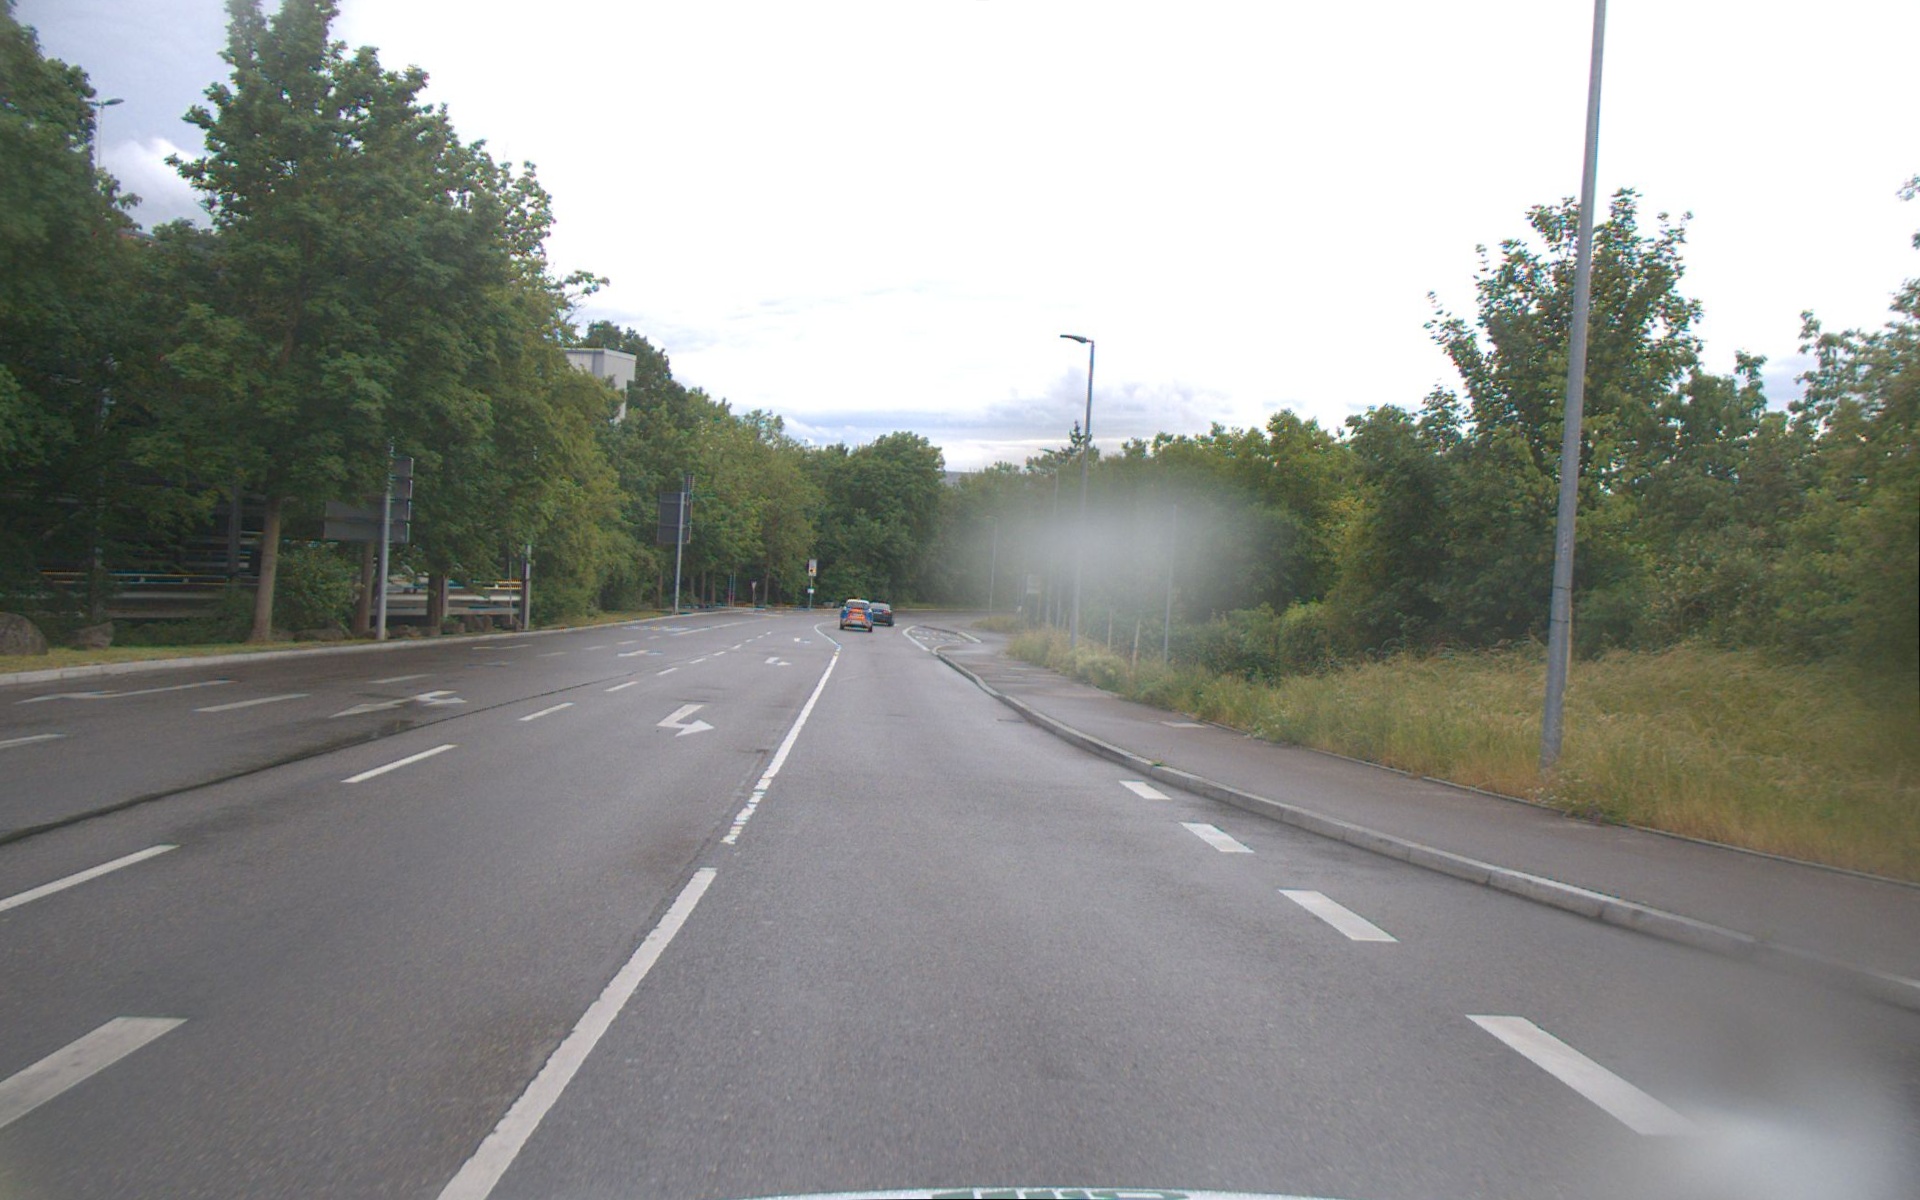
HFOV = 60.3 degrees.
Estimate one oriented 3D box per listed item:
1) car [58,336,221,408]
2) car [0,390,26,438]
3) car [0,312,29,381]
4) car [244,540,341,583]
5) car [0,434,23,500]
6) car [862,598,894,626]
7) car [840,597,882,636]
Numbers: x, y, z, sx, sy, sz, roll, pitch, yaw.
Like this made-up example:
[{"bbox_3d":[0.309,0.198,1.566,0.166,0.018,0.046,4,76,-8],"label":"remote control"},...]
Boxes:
[{"bbox_3d":[-22.849,-6.339,46.075,3.910,1.544,1.999,6,1,25],"label":"car"},{"bbox_3d":[-35.288,-6.609,58.419,3.906,1.545,1.999,2,0,22],"label":"car"},{"bbox_3d":[-24.705,-6.276,39.854,3.910,1.544,1.999,6,1,25],"label":"car"},{"bbox_3d":[-27.087,-1.563,67.139,3.391,1.545,1.587,3,0,18],"label":"car"},{"bbox_3d":[-24.955,-3.416,40.005,3.910,1.544,1.999,6,1,25],"label":"car"},{"bbox_3d":[-5.188,0.755,104.880,1.889,1.512,3.798,3,2,-3],"label":"car"},{"bbox_3d":[-5.094,0.812,85.400,1.954,1.718,3.999,4,2,-3],"label":"car"}]
